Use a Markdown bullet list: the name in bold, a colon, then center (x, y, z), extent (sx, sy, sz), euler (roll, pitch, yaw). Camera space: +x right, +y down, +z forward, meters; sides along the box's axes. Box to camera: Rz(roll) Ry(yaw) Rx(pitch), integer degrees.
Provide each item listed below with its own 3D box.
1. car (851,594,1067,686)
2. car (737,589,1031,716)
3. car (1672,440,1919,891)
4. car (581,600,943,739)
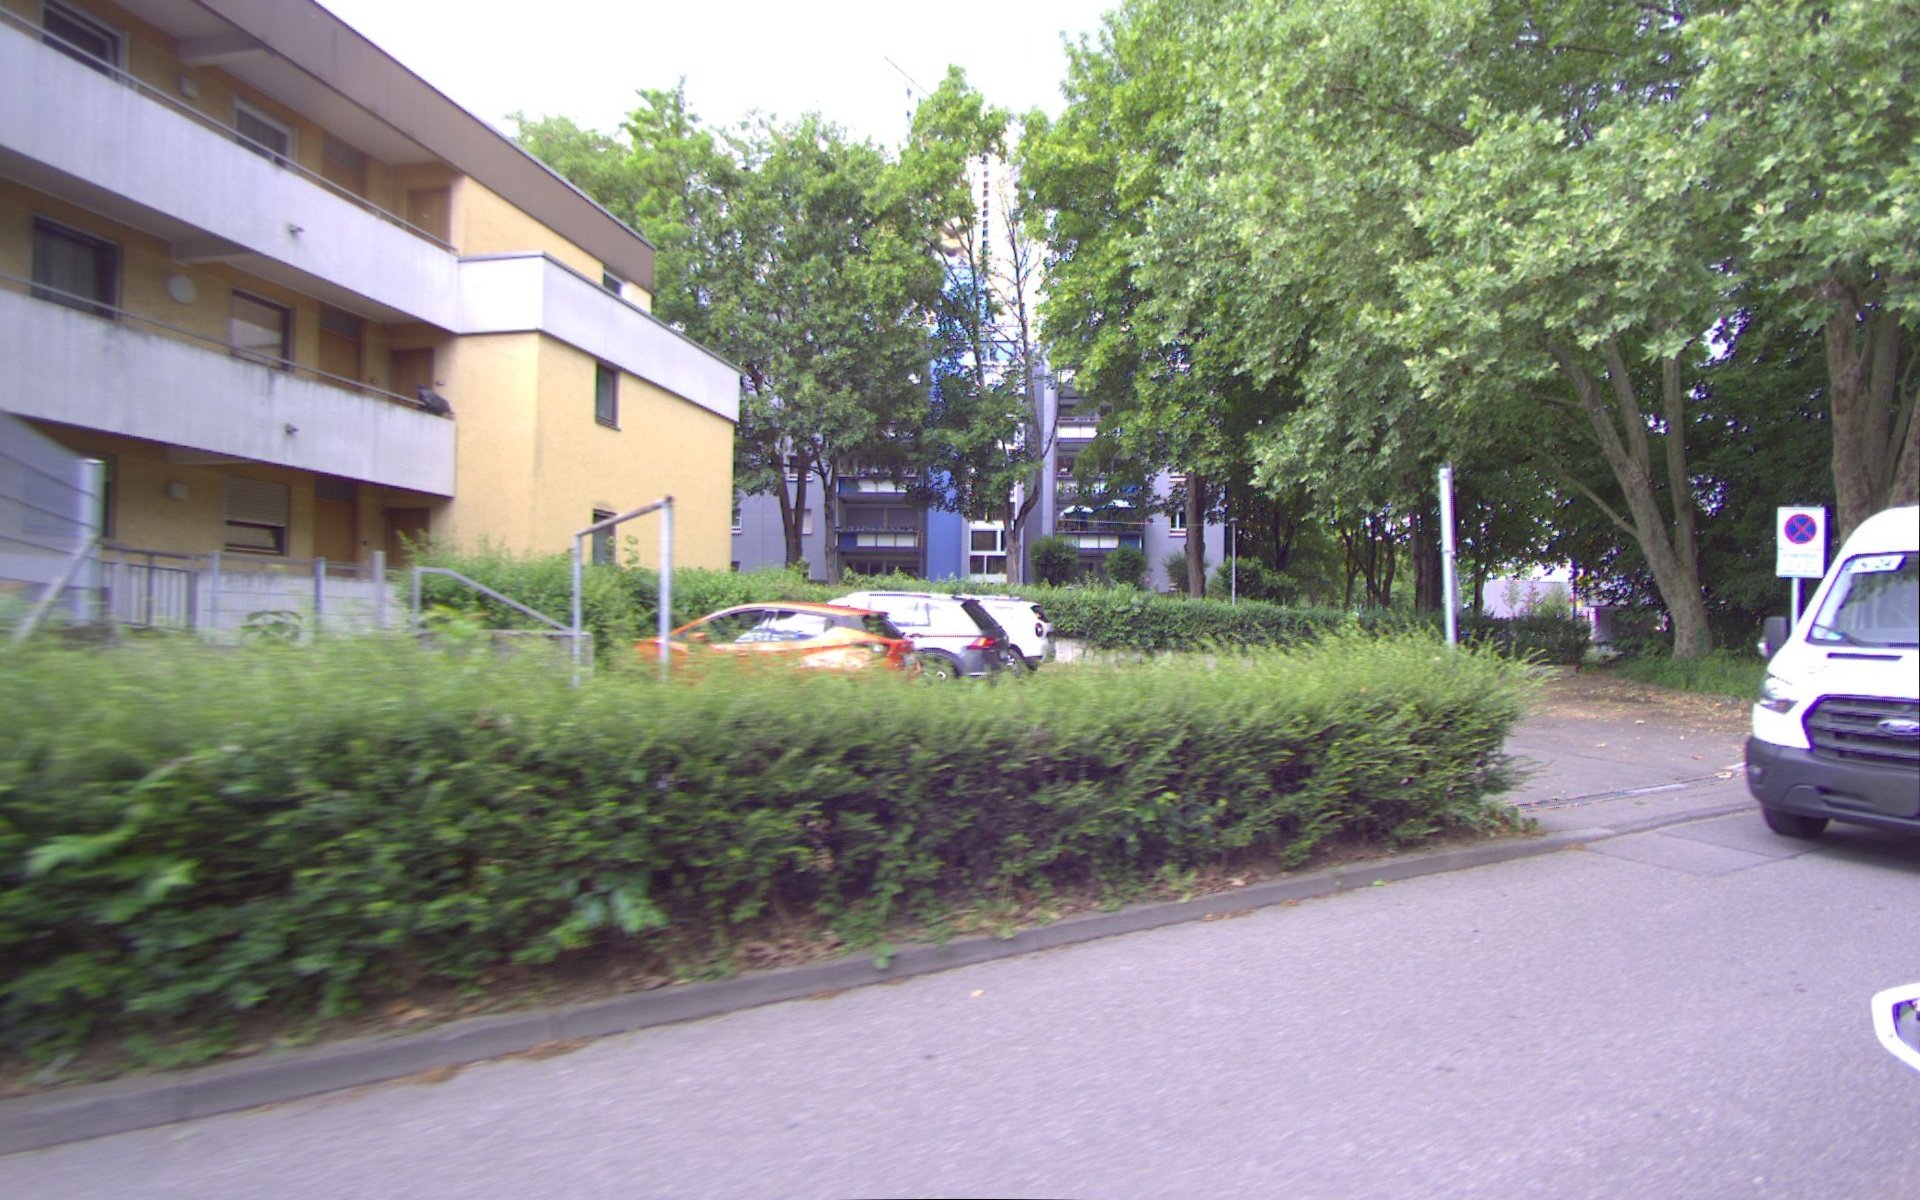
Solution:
- **car**: center (0.027, 0.775, 20.420), extent (4.032, 1.670, 1.808), euler (1, -1, 15)
- **car**: center (-1.050, 0.718, 14.760), extent (3.919, 1.632, 1.826), euler (1, -1, 13)
- **car**: center (7.953, 0.411, 7.275), extent (6.201, 2.509, 2.122), euler (1, 0, -29)
- **car**: center (-2.328, 0.777, 12.206), extent (3.919, 1.449, 1.751), euler (1, -1, 13)
